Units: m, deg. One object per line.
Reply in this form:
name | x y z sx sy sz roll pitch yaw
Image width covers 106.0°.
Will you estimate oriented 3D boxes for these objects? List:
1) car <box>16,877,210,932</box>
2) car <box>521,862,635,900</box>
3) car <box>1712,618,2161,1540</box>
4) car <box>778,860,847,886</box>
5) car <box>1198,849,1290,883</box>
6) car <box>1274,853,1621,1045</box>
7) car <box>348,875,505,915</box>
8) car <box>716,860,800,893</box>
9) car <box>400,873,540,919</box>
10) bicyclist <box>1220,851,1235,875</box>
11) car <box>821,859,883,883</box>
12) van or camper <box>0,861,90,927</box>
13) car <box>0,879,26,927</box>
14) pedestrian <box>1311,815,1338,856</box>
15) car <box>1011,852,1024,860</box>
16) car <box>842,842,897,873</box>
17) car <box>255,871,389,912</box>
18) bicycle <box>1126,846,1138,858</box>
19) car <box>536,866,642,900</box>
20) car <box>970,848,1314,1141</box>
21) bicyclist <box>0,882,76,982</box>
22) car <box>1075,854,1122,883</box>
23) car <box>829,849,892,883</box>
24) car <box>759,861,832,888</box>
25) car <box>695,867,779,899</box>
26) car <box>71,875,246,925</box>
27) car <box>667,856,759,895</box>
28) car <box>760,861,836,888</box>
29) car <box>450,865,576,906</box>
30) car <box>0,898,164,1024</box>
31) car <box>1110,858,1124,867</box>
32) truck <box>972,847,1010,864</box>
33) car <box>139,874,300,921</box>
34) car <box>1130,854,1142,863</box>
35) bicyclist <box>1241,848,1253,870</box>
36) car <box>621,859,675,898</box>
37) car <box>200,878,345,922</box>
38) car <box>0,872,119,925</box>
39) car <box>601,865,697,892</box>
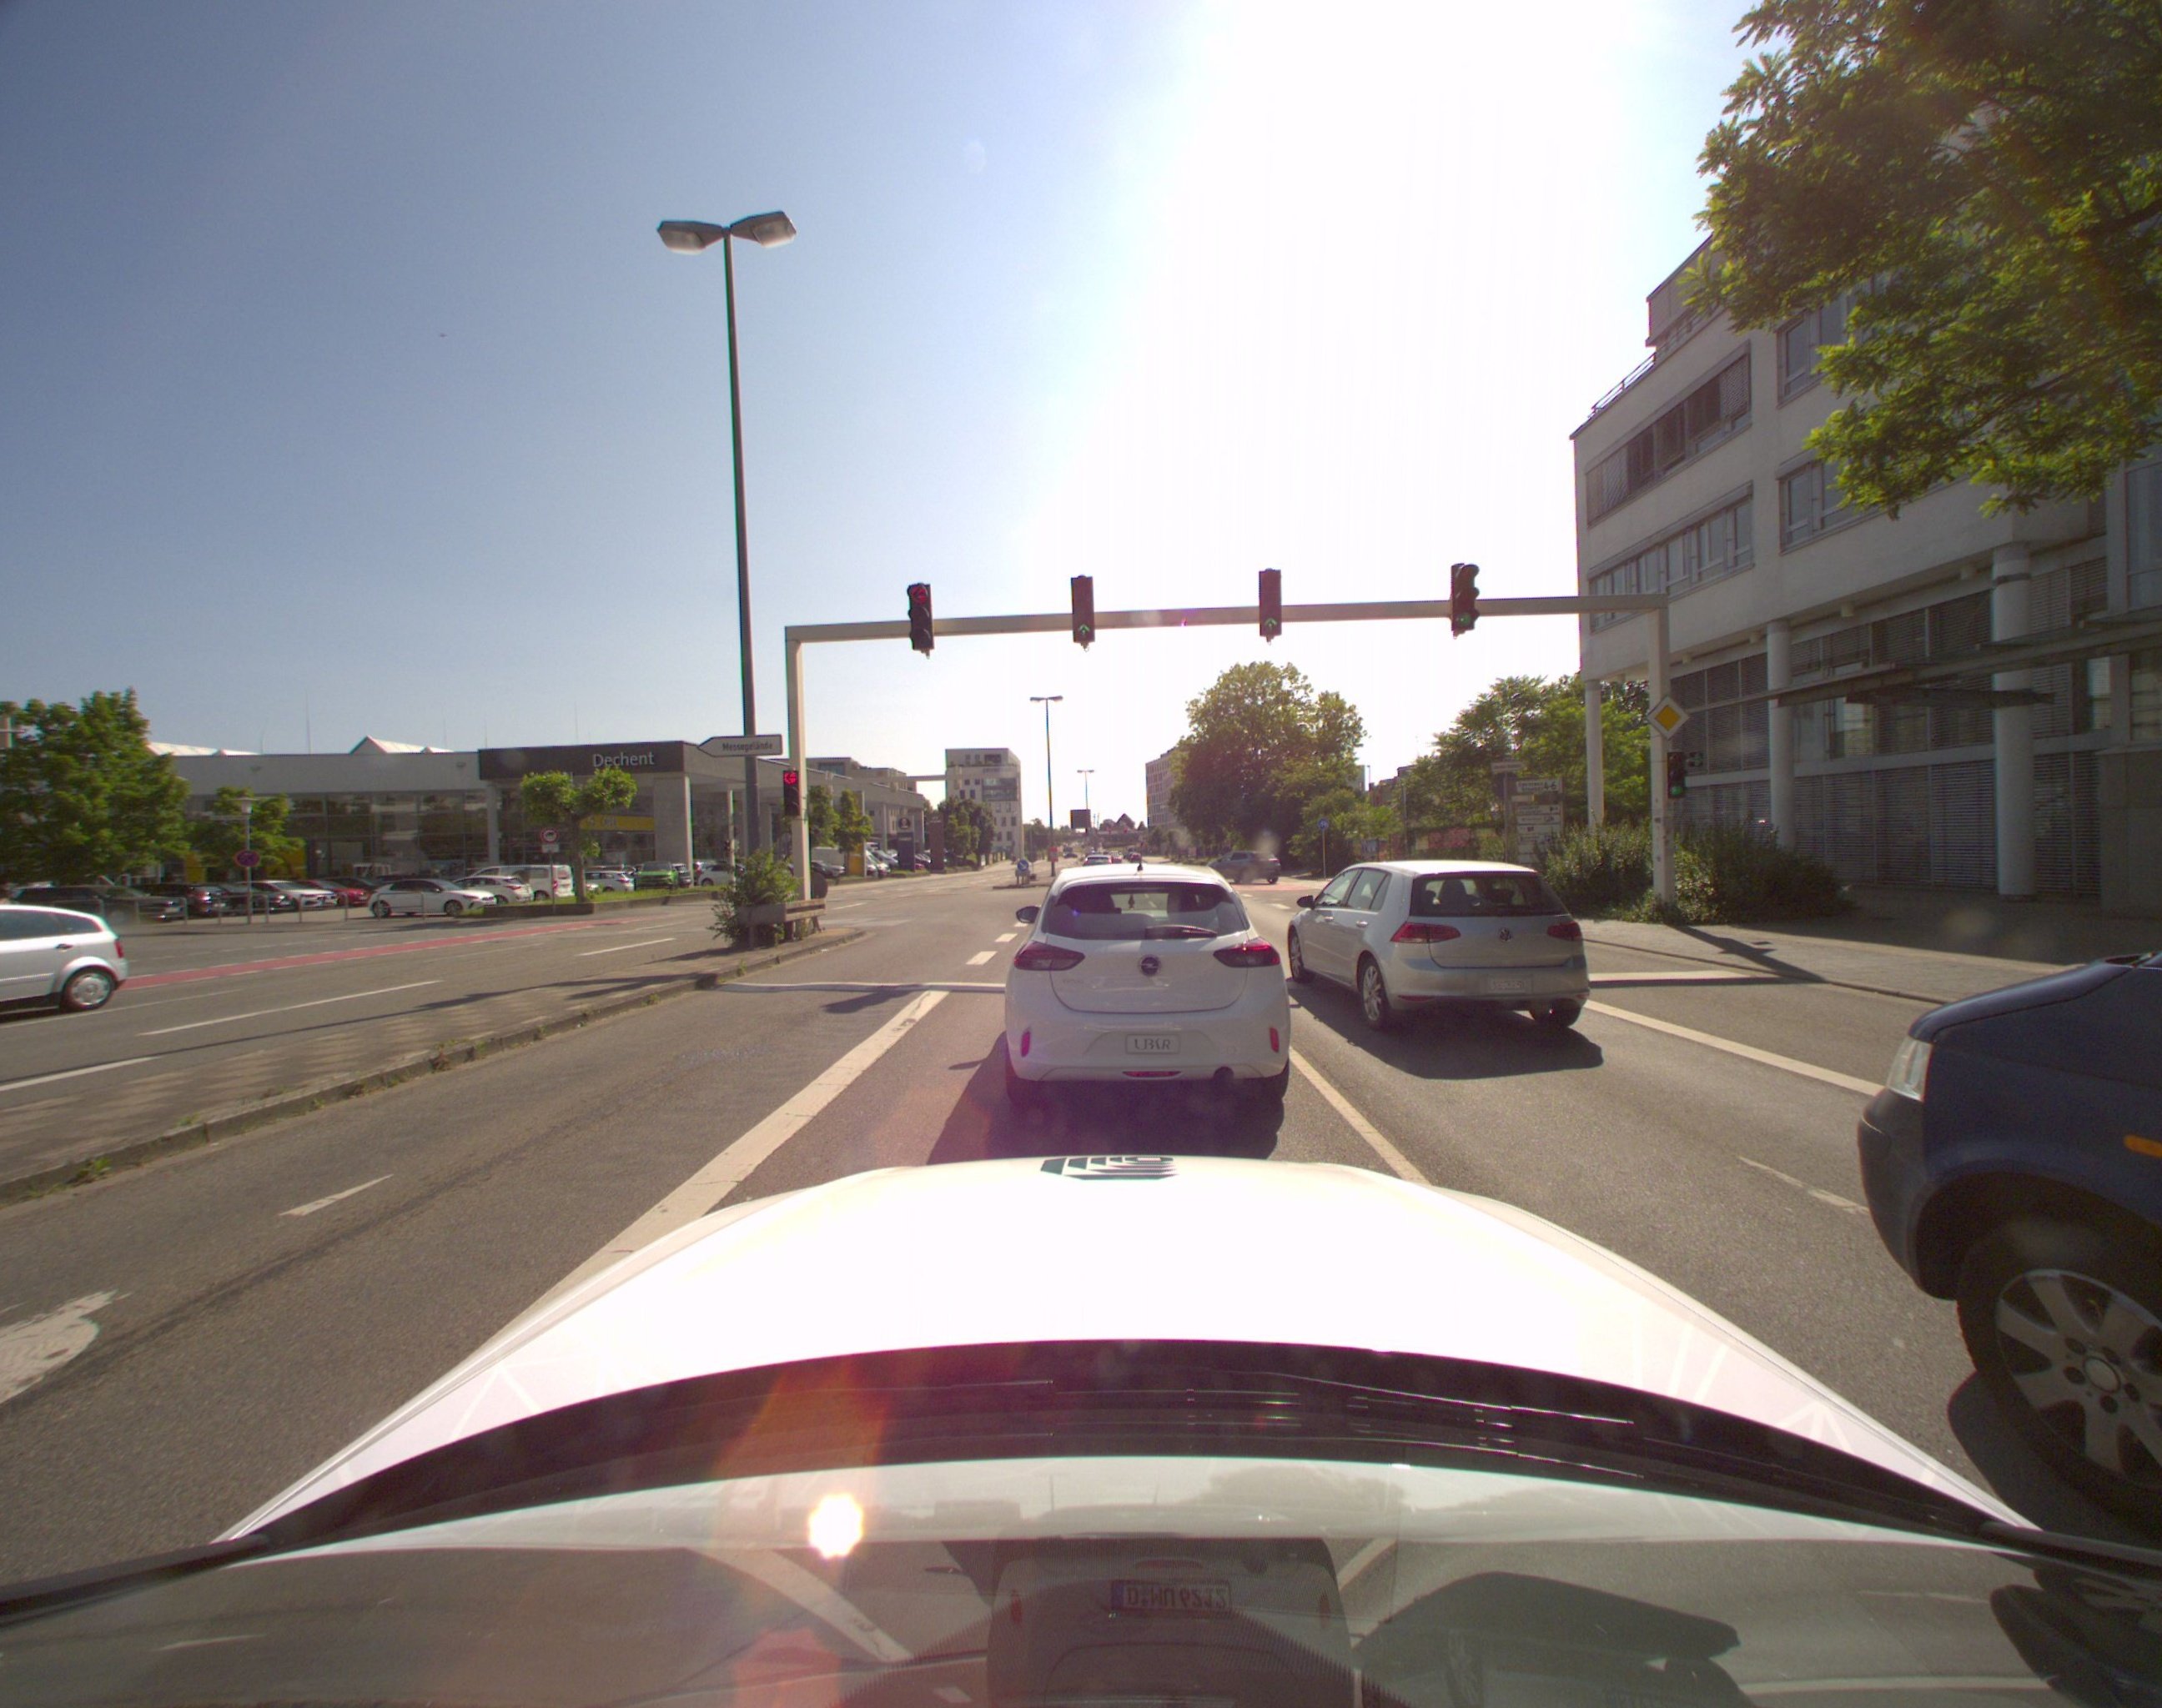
car | -34.890 1.803 29.465 4.348 1.696 1.997 -2 0 -4
car | -25.079 1.333 40.730 4.353 1.696 1.995 -2 0 -7
car | 3.223 0.441 0.462 1.986 1.948 4.892 -2 -1 2
car | -19.783 1.407 60.205 4.344 1.696 1.999 -2 0 -1
car | 7.919 0.587 39.993 2.006 1.551 4.390 -2 0 -30
car | 3.307 0.755 8.307 1.800 1.429 4.001 -2 -1 1
car | -25.471 1.590 31.847 4.348 1.300 1.997 -2 0 -4
car | -19.598 1.354 49.563 4.284 1.765 1.999 -2 0 -1
car | -26.201 1.781 35.055 4.348 1.696 1.997 -2 0 -4
bicyclist | 11.014 0.639 61.232 0.876 1.772 0.864 -2 0 1
car | -18.501 1.357 65.882 4.337 1.696 2.002 -2 0 3
van or camper | -41.944 1.573 31.321 4.711 2.400 1.995 -2 0 -8
car | -40.599 1.810 28.313 4.371 1.696 1.987 -2 0 -20
pedestrian | 12.365 -0.931 41.426 1.023 2.013 1.039 -2 0 1
car | -11.175 0.349 142.722 1.799 1.386 4.001 0 -1 2
car | -19.092 0.292 73.669 4.334 2.601 2.004 -2 0 6
car | -36.616 1.782 39.395 4.352 1.696 1.995 -2 0 -7
bicycle | 9.739 -0.335 155.408 1.986 2.157 4.001 -2 0 1
car | -26.238 1.507 43.556 4.352 1.591 1.996 -2 0 -7
car | 0.379 0.748 6.317 1.773 1.494 4.001 -2 0 2
bicyclist | -16.417 1.185 12.460 0.763 1.460 1.030 -2 0 9
car | 0.996 0.736 43.388 1.982 1.447 4.381 -1 0 8
car | -18.467 0.959 68.334 4.469 2.684 2.134 -2 0 10
car | -19.931 1.395 56.942 4.344 1.696 1.999 -2 0 -1
car | -19.739 1.653 46.907 3.981 1.599 1.996 -2 0 -6
car | -36.102 1.766 31.983 4.348 1.696 1.997 -2 0 -4
car | -19.255 1.102 42.759 3.859 1.837 1.999 -2 0 -1
car | -18.978 1.367 54.689 4.343 1.696 1.999 -2 0 -1
car | -26.505 1.446 38.149 4.353 1.696 1.995 -2 0 -7
car | -14.036 1.378 9.707 1.767 1.438 3.913 -2 0 -2
car | 5.427 1.292 122.579 1.987 1.331 3.998 0 -1 -1
truck | -21.889 0.313 198.569 9.054 3.834 3.073 -2 0 -8
car | -36.111 1.800 34.244 4.348 1.696 1.997 -2 0 -4
car | 9.086 0.762 135.249 1.799 1.386 4.001 0 -1 2
bicyclist | 12.344 0.353 60.557 0.687 1.643 0.775 -2 0 -7
car | -21.249 1.225 39.937 1.915 1.733 3.258 -2 -1 -35
car | -36.632 2.063 36.996 4.348 1.696 1.997 -2 0 -4
car | -43.159 1.824 33.679 3.984 2.013 1.995 -2 0 -8
car | -24.700 1.384 46.660 4.352 1.268 1.995 -3 -2 -7
